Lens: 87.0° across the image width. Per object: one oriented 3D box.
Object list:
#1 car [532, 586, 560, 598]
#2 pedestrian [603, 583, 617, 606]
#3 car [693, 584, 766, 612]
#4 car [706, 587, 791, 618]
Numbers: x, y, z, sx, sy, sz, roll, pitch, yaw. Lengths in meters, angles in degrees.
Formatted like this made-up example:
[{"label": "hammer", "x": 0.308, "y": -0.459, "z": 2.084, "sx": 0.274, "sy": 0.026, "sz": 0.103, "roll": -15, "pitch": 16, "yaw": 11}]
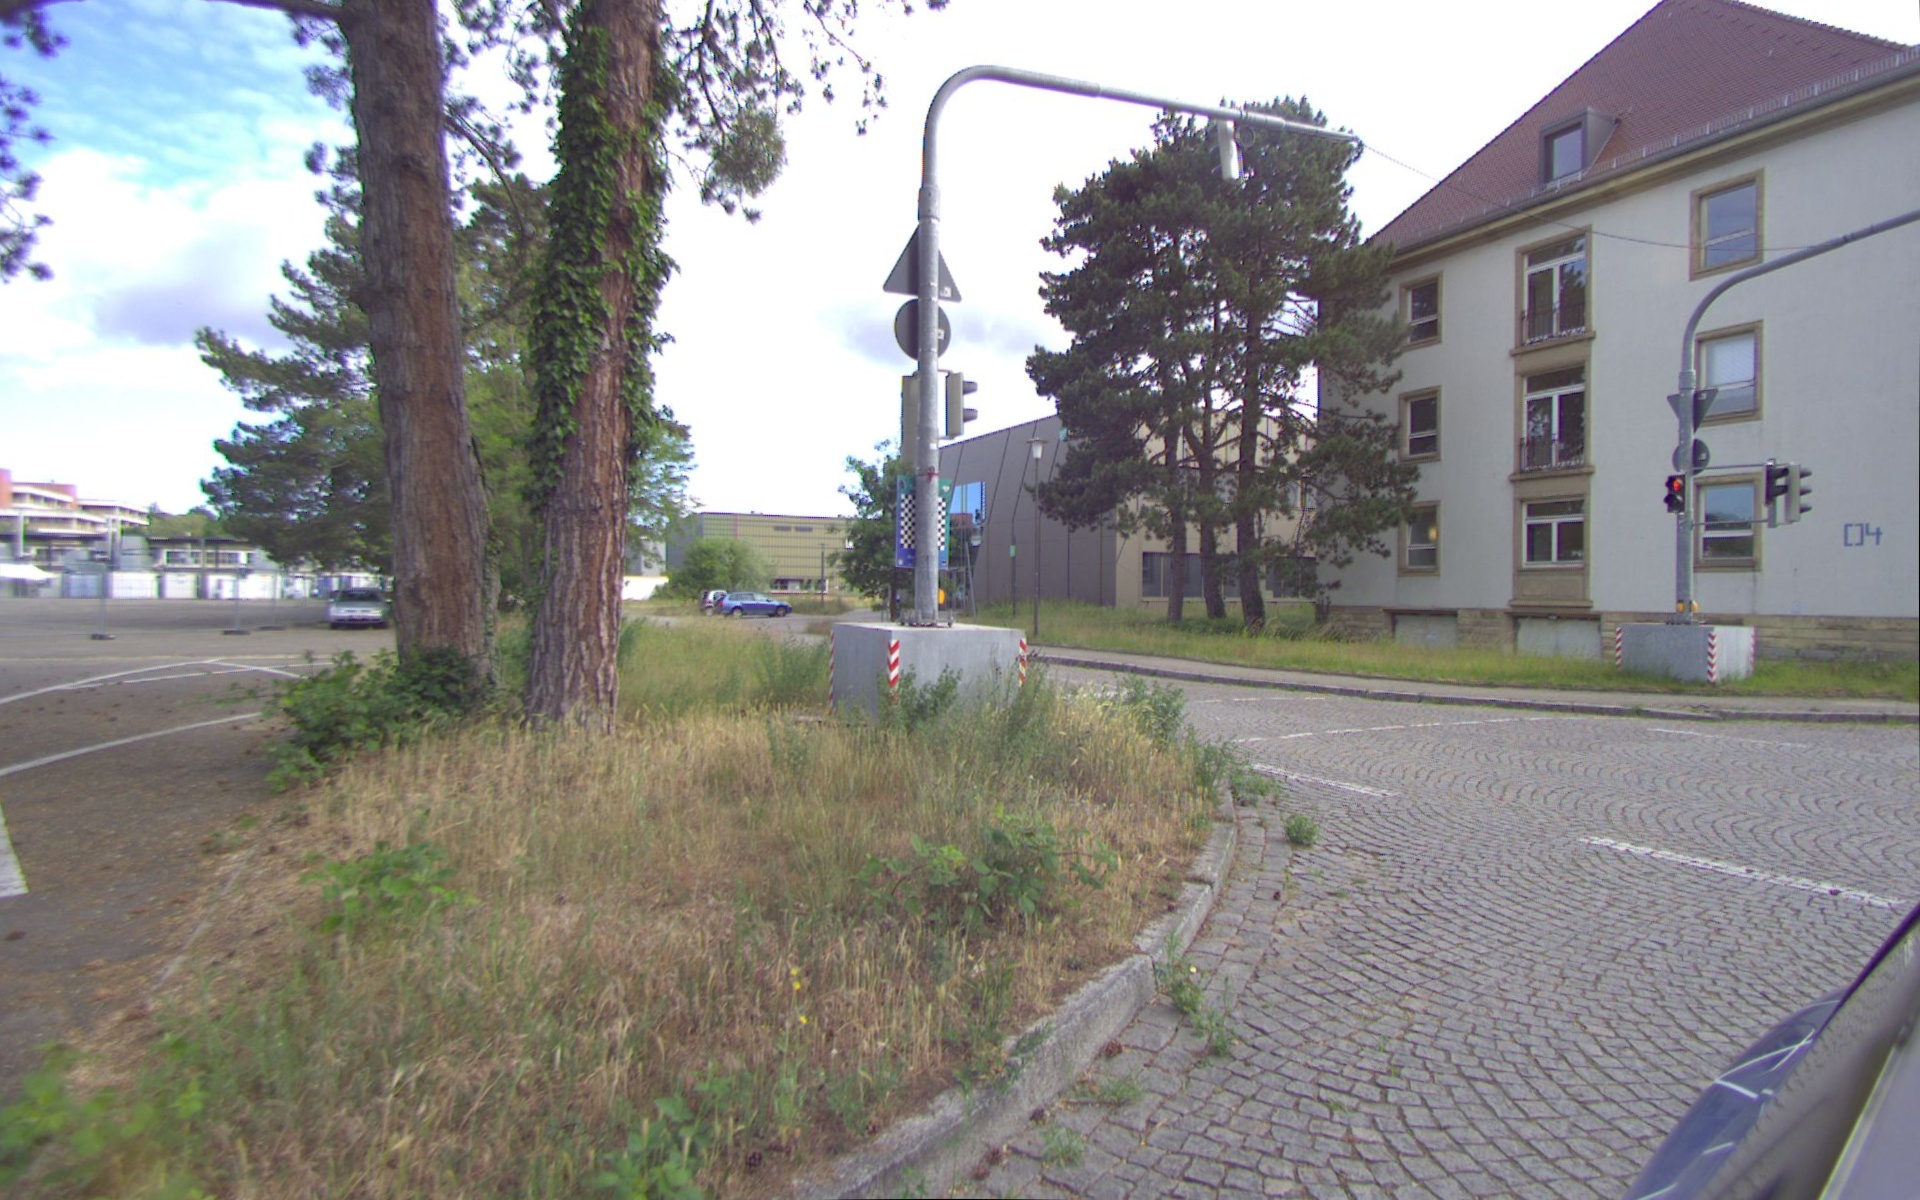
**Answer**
[{"label": "car", "x": -65.050, "y": -1.240, "z": 159.050, "sx": 3.997, "sy": 1.862, "sz": 1.789, "roll": 0, "pitch": 1, "yaw": -25}, {"label": "pedestrian", "x": -27.015, "y": -0.421, "z": 78.103, "sx": 0.858, "sy": 1.745, "sz": 1.008, "roll": 0, "pitch": 0, "yaw": -30}, {"label": "car", "x": -14.613, "y": -0.141, "z": 64.252, "sx": 4.113, "sy": 1.606, "sz": 1.840, "roll": -3, "pitch": 2, "yaw": -30}, {"label": "car", "x": -11.968, "y": 0.117, "z": 57.236, "sx": 4.330, "sy": 1.481, "sz": 1.840, "roll": -3, "pitch": 2, "yaw": -30}]
